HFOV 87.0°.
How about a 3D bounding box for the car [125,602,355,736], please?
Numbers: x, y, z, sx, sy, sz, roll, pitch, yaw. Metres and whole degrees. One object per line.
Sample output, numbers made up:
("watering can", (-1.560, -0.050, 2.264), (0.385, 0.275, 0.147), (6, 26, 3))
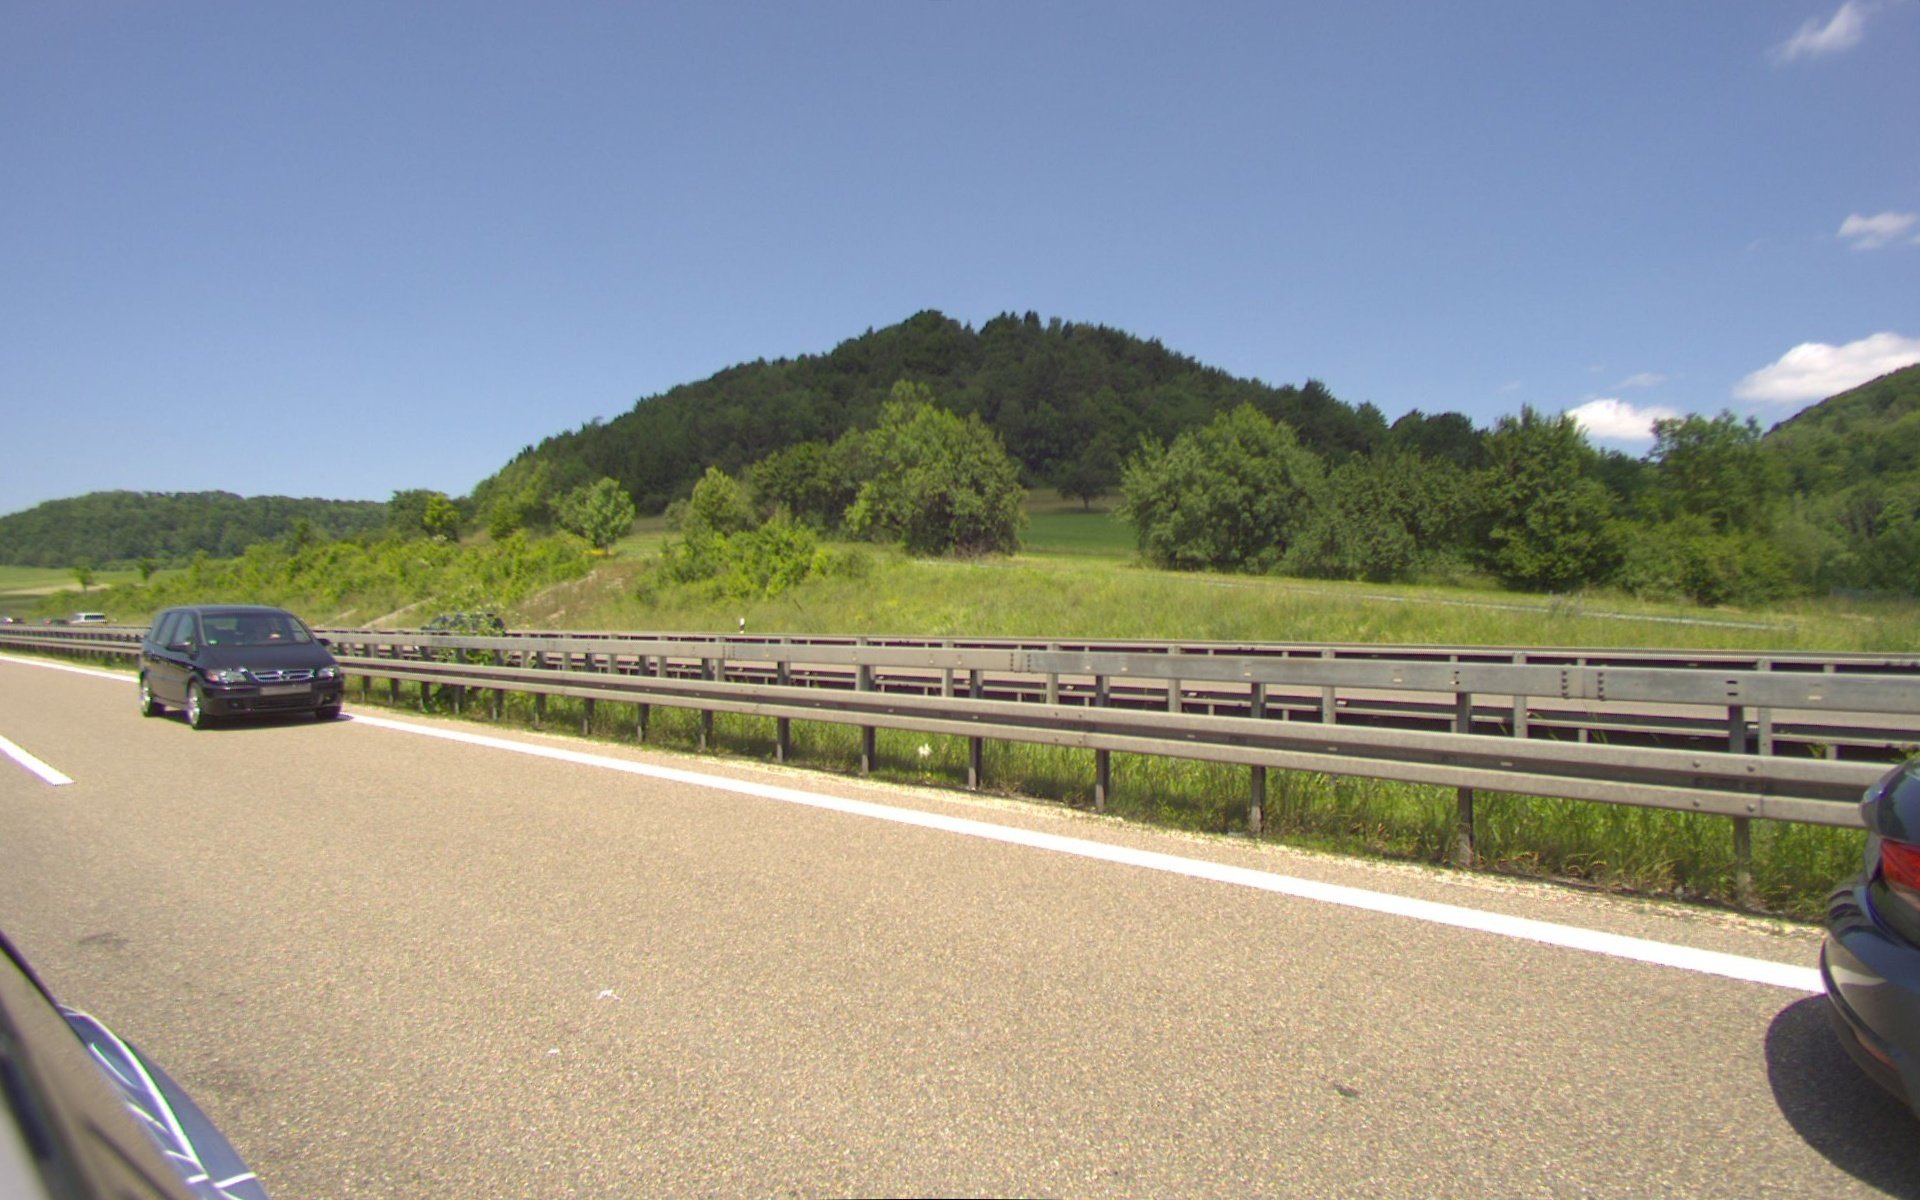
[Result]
("car", (-10.482, 0.889, 14.607), (4.445, 1.647, 1.781), (-1, -1, 42))

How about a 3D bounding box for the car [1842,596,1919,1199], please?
("car", (4.111, 0.668, 1.633), (3.997, 1.399, 1.671), (-1, -1, 41))

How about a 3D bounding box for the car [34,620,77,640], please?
("car", (-70.996, 2.362, 79.432), (4.518, 1.530, 1.973), (-1, -1, 41))

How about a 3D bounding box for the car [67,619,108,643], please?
("car", (-75.096, 2.669, 87.068), (4.657, 1.956, 2.039), (-1, -1, 41))

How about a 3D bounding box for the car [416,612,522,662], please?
("car", (-16.868, 1.233, 34.720), (4.076, 1.622, 1.830), (-1, -1, 41))
